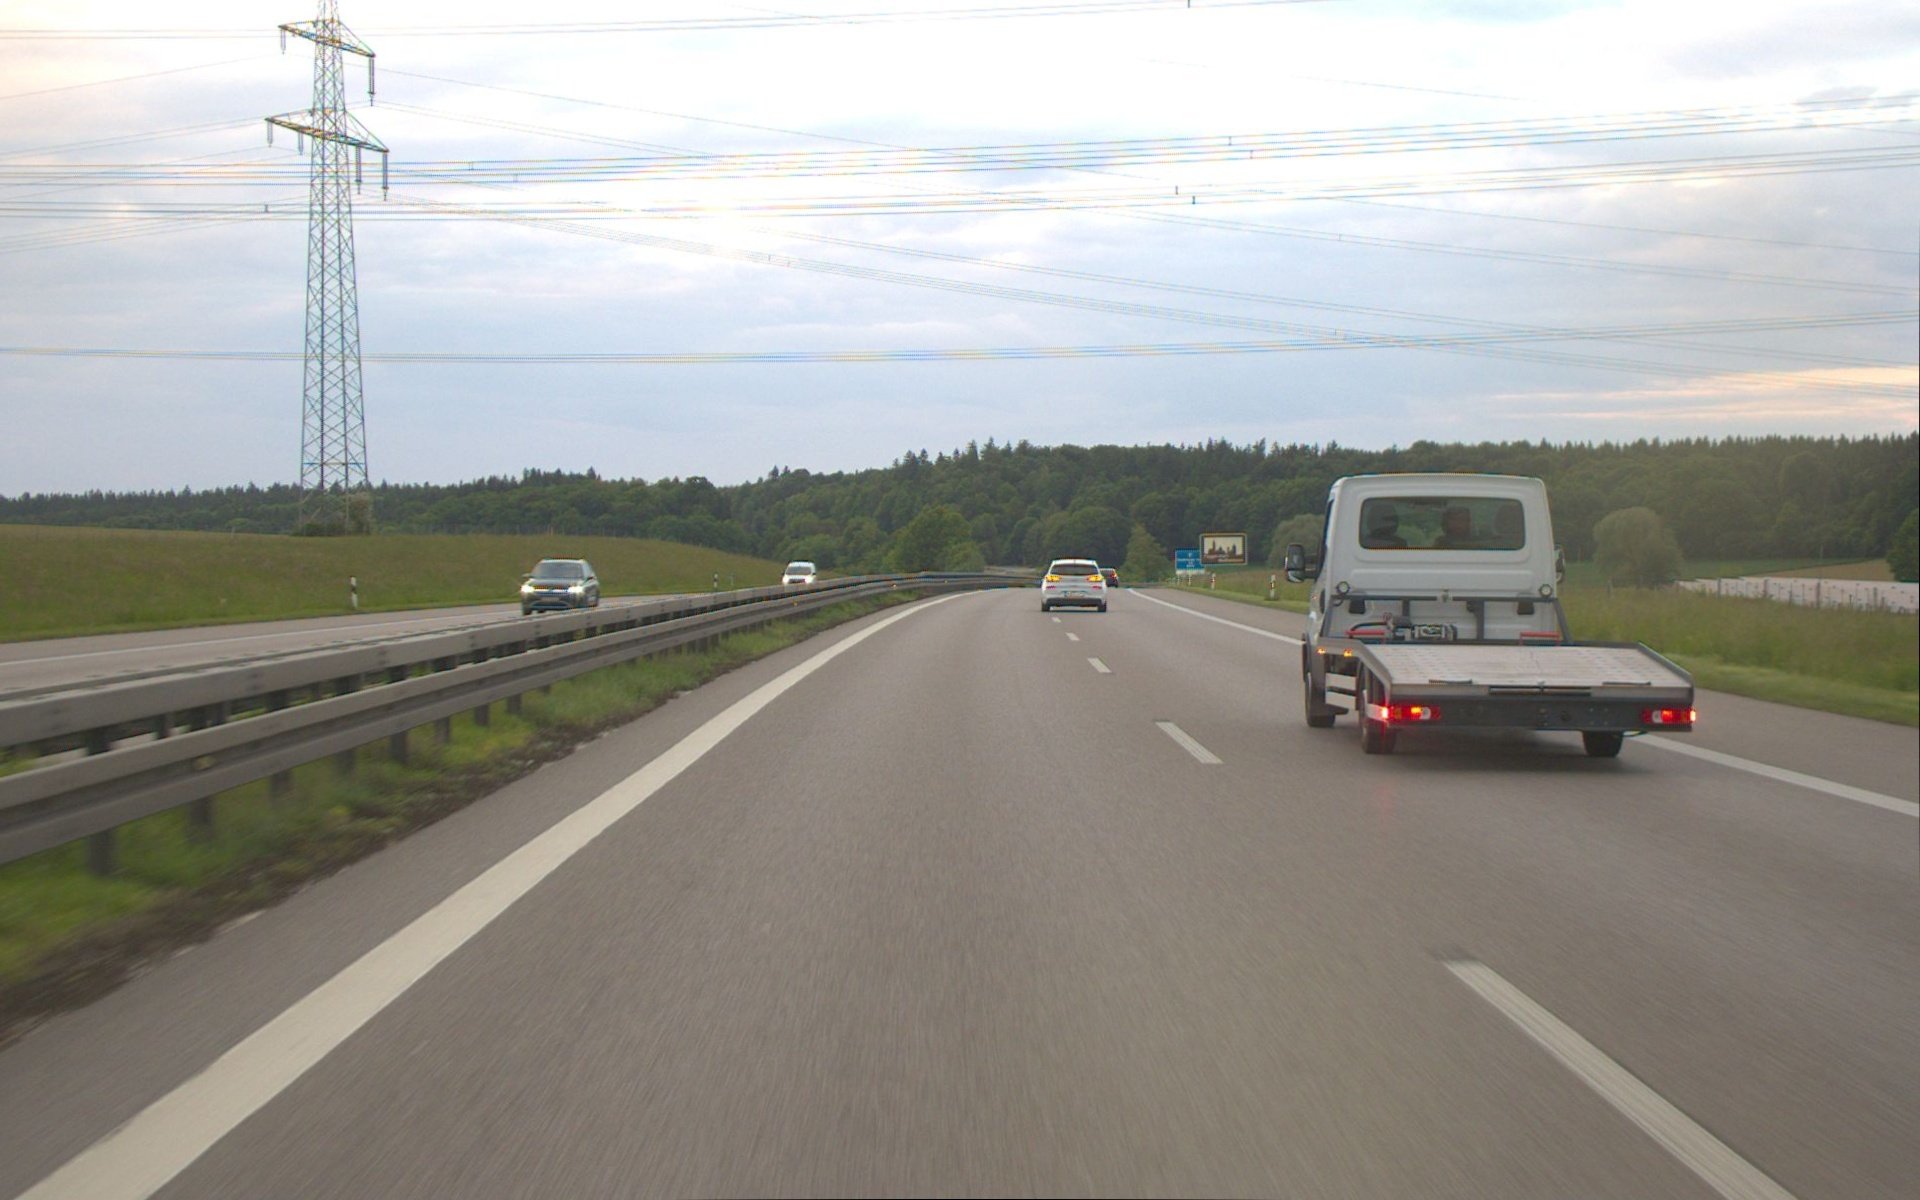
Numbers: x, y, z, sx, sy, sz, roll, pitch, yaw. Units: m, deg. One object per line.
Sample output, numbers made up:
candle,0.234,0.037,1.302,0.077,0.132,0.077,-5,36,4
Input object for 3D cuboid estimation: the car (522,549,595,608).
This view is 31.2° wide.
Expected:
car,-11.787,-0.648,101.078,1.697,1.658,4.464,1,1,-1

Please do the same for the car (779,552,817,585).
car,-9.121,-1.787,193.898,1.760,1.796,4.994,-1,1,1

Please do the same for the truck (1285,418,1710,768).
truck,4.038,-0.099,27.362,2.172,2.352,7.696,1,1,0

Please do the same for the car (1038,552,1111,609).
car,3.166,-0.551,95.518,1.952,1.526,4.080,1,1,1

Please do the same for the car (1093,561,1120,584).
car,11.014,-2.076,257.830,1.952,1.725,4.080,1,1,3
